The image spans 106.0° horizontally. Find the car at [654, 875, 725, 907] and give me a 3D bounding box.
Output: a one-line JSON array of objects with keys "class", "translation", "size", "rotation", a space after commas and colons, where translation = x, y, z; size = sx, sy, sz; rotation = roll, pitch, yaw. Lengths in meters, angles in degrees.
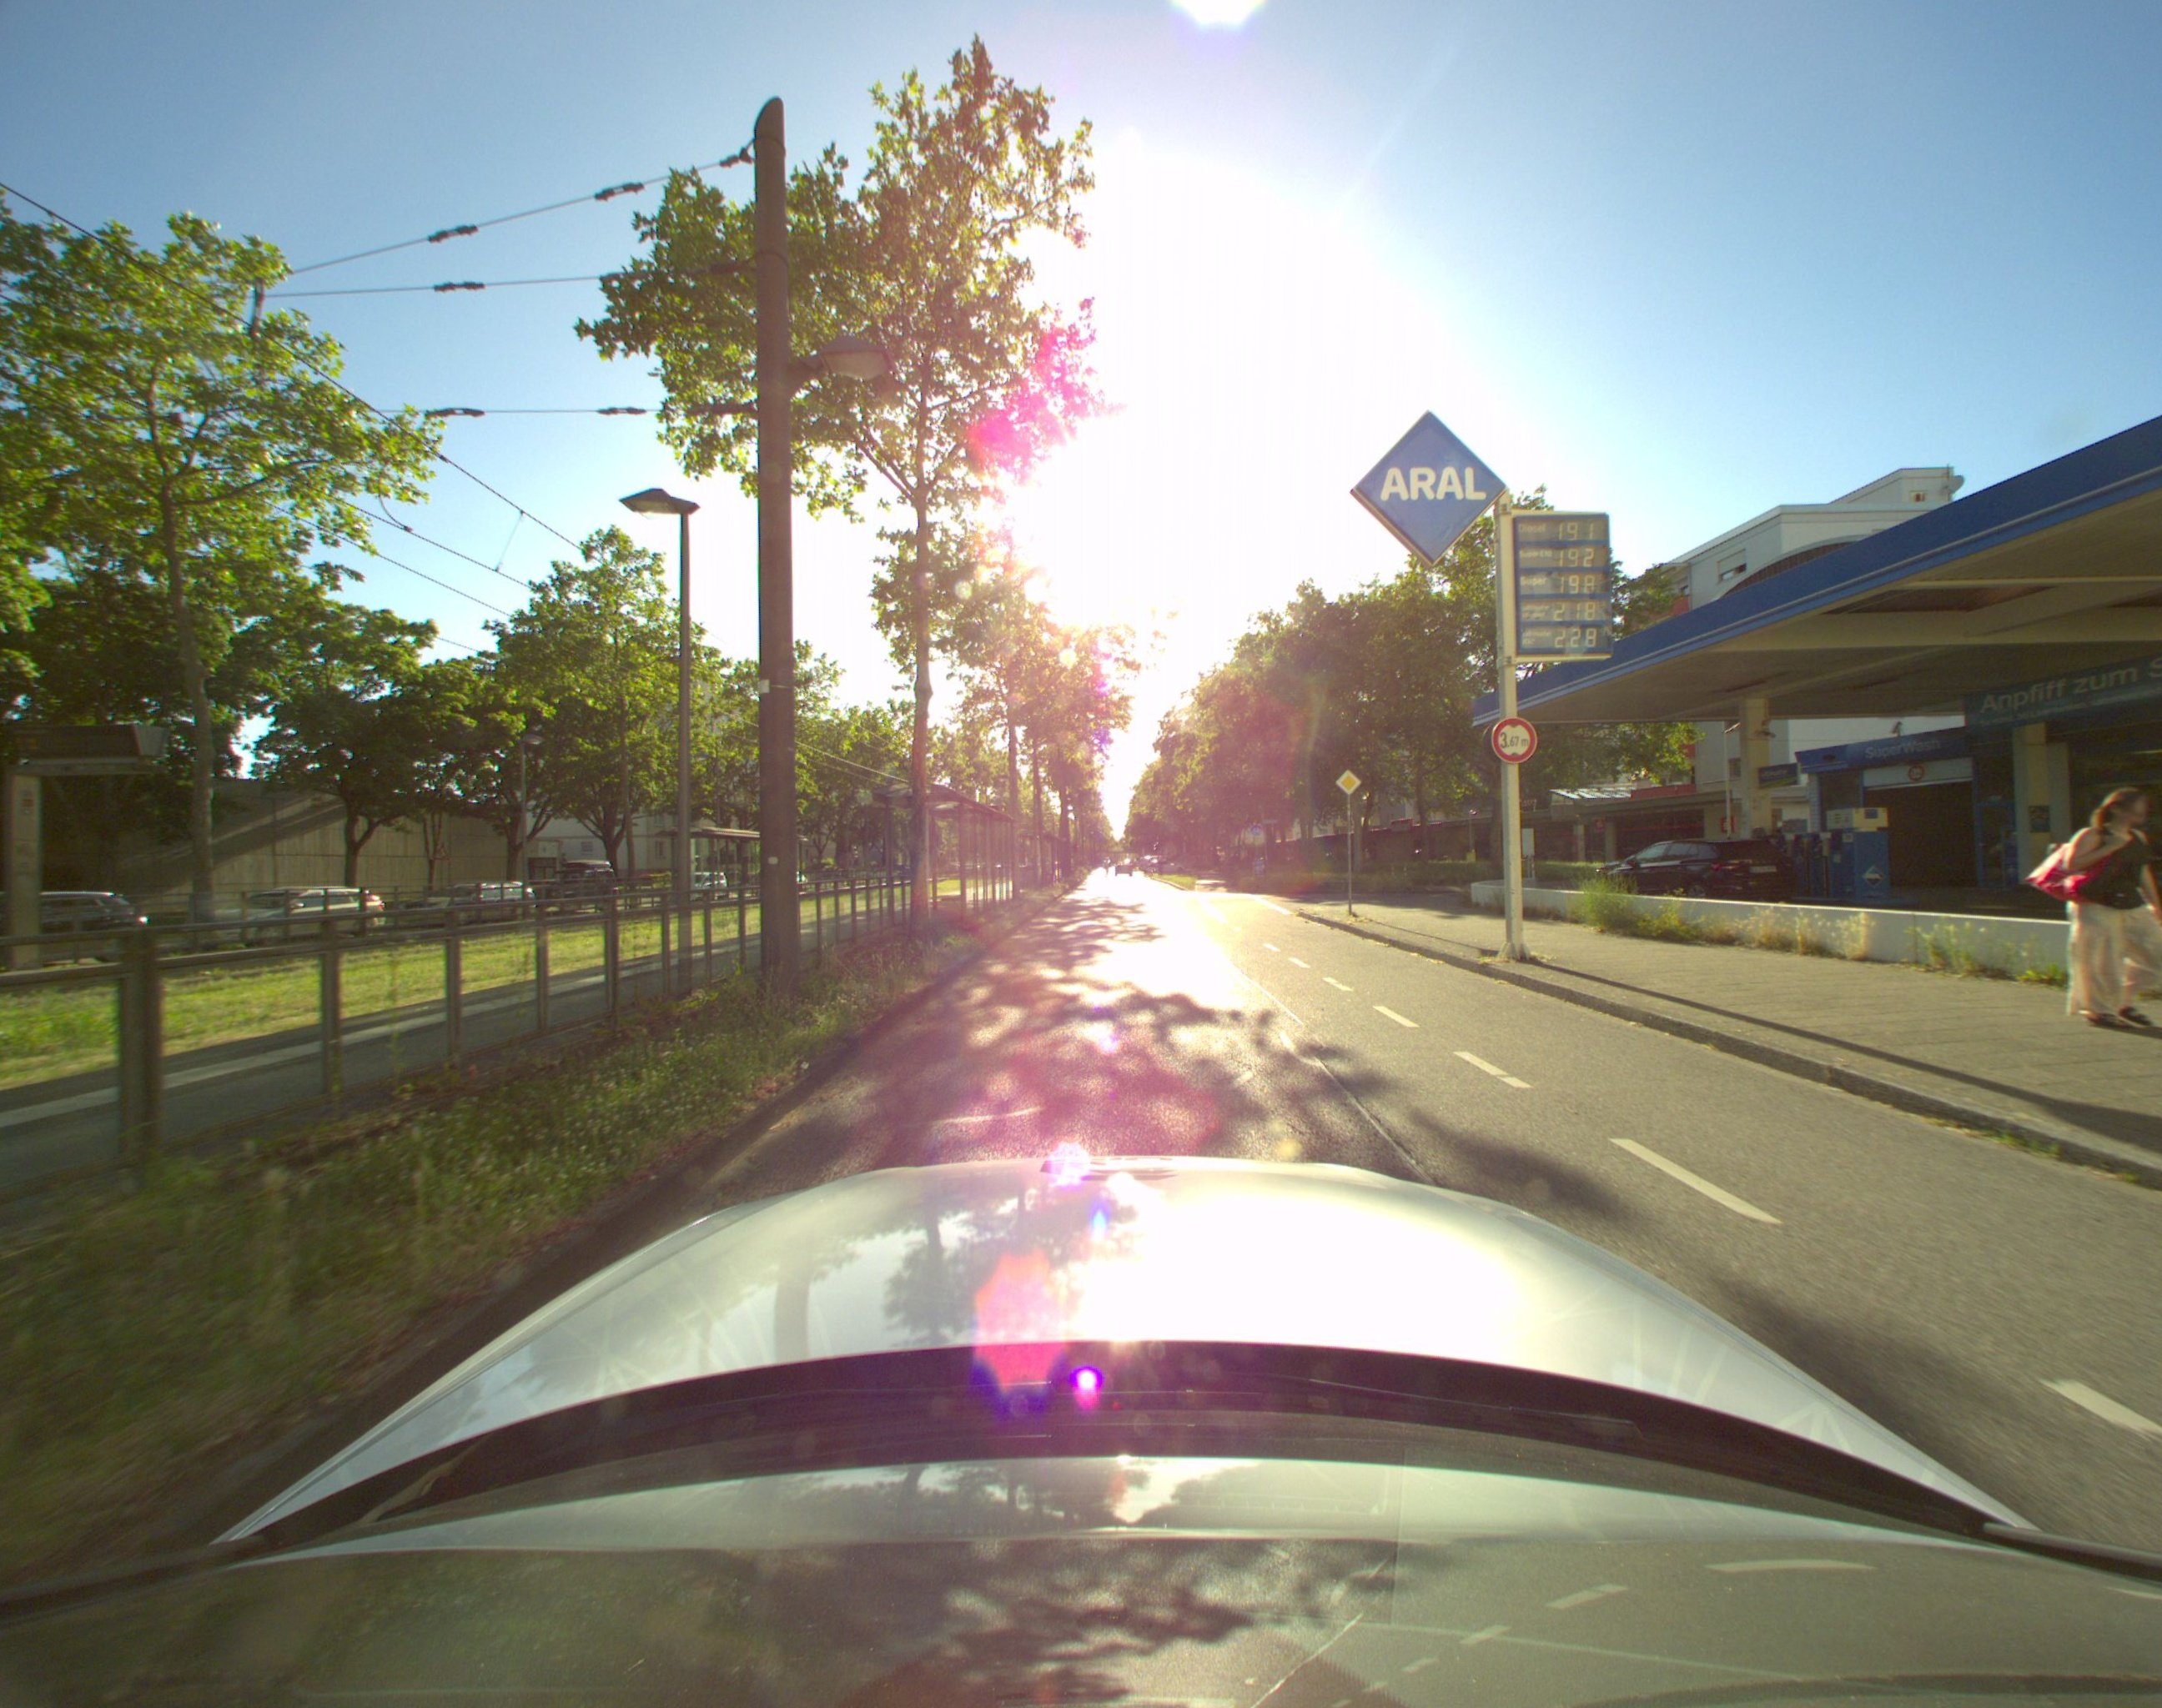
[{"class": "car", "translation": [-21.653, 2.016, 45.195], "size": [1.706, 1.546, 3.938], "rotation": [-2, 0, 4]}]

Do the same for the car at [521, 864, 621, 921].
[{"class": "car", "translation": [-22.053, 1.616, 35.392], "size": [1.708, 2.262, 3.934], "rotation": [-2, 0, 1]}]

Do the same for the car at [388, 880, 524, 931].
[{"class": "car", "translation": [-21.875, 1.752, 28.717], "size": [1.588, 1.488, 4.021], "rotation": [-2, 0, 1]}]

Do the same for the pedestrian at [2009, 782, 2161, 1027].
[{"class": "pedestrian", "translation": [7.424, 0.351, 5.949], "size": [0.601, 1.701, 0.553], "rotation": [-1, -1, 6]}]

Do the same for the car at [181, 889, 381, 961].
[{"class": "car", "translation": [-22.056, 1.896, 22.701], "size": [1.588, 1.636, 3.931], "rotation": [-2, 0, 1]}]

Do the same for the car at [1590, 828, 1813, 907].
[{"class": "car", "translation": [12.841, 0.259, 17.215], "size": [1.714, 1.463, 4.006], "rotation": [-1, 0, 1]}]

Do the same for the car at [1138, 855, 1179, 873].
[{"class": "car", "translation": [8.971, 1.119, 94.418], "size": [4.694, 1.853, 1.809], "rotation": [-2, -1, -38]}]

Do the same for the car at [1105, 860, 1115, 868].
[{"class": "car", "translation": [5.391, 1.837, 149.666], "size": [1.842, 1.535, 3.868], "rotation": [-2, 0, 2]}]

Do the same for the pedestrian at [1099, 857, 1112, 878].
[{"class": "pedestrian", "translation": [2.103, 1.167, 69.895], "size": [0.835, 1.722, 0.834], "rotation": [-2, 0, 17]}]

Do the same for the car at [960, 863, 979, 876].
[{"class": "car", "translation": [-14.816, 2.015, 108.158], "size": [1.706, 1.546, 3.937], "rotation": [-2, 0, 4]}]

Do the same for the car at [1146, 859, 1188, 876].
[{"class": "car", "translation": [8.857, 1.382, 84.107], "size": [4.011, 1.469, 1.744], "rotation": [-4, 0, -30]}]

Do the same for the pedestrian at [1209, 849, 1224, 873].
[{"class": "pedestrian", "translation": [10.963, 0.583, 65.975], "size": [0.926, 1.885, 0.797], "rotation": [-1, 0, -12]}]

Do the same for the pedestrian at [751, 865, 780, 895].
[{"class": "pedestrian", "translation": [-13.365, 1.096, 34.540], "size": [0.829, 1.261, 0.804], "rotation": [-1, -1, 30]}]

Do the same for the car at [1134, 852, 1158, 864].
[{"class": "car", "translation": [11.198, 0.636, 139.993], "size": [4.105, 1.811, 1.632], "rotation": [-2, -1, -38]}]

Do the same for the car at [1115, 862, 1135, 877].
[{"class": "car", "translation": [4.466, 1.561, 82.957], "size": [1.915, 1.411, 4.001], "rotation": [-1, 0, 1]}]

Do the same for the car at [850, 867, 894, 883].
[{"class": "car", "translation": [-20.931, 2.080, 81.623], "size": [1.817, 1.435, 3.849], "rotation": [-2, 0, 42]}]

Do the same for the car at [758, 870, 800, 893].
[{"class": "car", "translation": [-18.388, 1.672, 49.695], "size": [1.258, 1.241, 3.376], "rotation": [-2, 0, 1]}]

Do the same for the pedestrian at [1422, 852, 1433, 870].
[{"class": "pedestrian", "translation": [32.318, 0.649, 75.967], "size": [0.669, 1.584, 0.715], "rotation": [-2, 0, -4]}]

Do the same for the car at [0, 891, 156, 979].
[{"class": "car", "translation": [-22.384, 1.710, 16.976], "size": [1.587, 1.632, 3.933], "rotation": [-2, 0, 3]}]

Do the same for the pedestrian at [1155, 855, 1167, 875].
[{"class": "pedestrian", "translation": [7.152, 1.010, 72.519], "size": [0.715, 1.706, 0.647], "rotation": [-3, -1, -33]}]

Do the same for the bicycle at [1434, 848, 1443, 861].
[{"class": "bicycle", "translation": [33.060, 0.048, 75.333], "size": [0.591, 1.179, 1.862], "rotation": [-1, -1, 29]}]

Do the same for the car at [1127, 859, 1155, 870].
[{"class": "car", "translation": [8.398, 1.444, 113.734], "size": [3.960, 1.373, 1.568], "rotation": [-2, -1, -42]}]
